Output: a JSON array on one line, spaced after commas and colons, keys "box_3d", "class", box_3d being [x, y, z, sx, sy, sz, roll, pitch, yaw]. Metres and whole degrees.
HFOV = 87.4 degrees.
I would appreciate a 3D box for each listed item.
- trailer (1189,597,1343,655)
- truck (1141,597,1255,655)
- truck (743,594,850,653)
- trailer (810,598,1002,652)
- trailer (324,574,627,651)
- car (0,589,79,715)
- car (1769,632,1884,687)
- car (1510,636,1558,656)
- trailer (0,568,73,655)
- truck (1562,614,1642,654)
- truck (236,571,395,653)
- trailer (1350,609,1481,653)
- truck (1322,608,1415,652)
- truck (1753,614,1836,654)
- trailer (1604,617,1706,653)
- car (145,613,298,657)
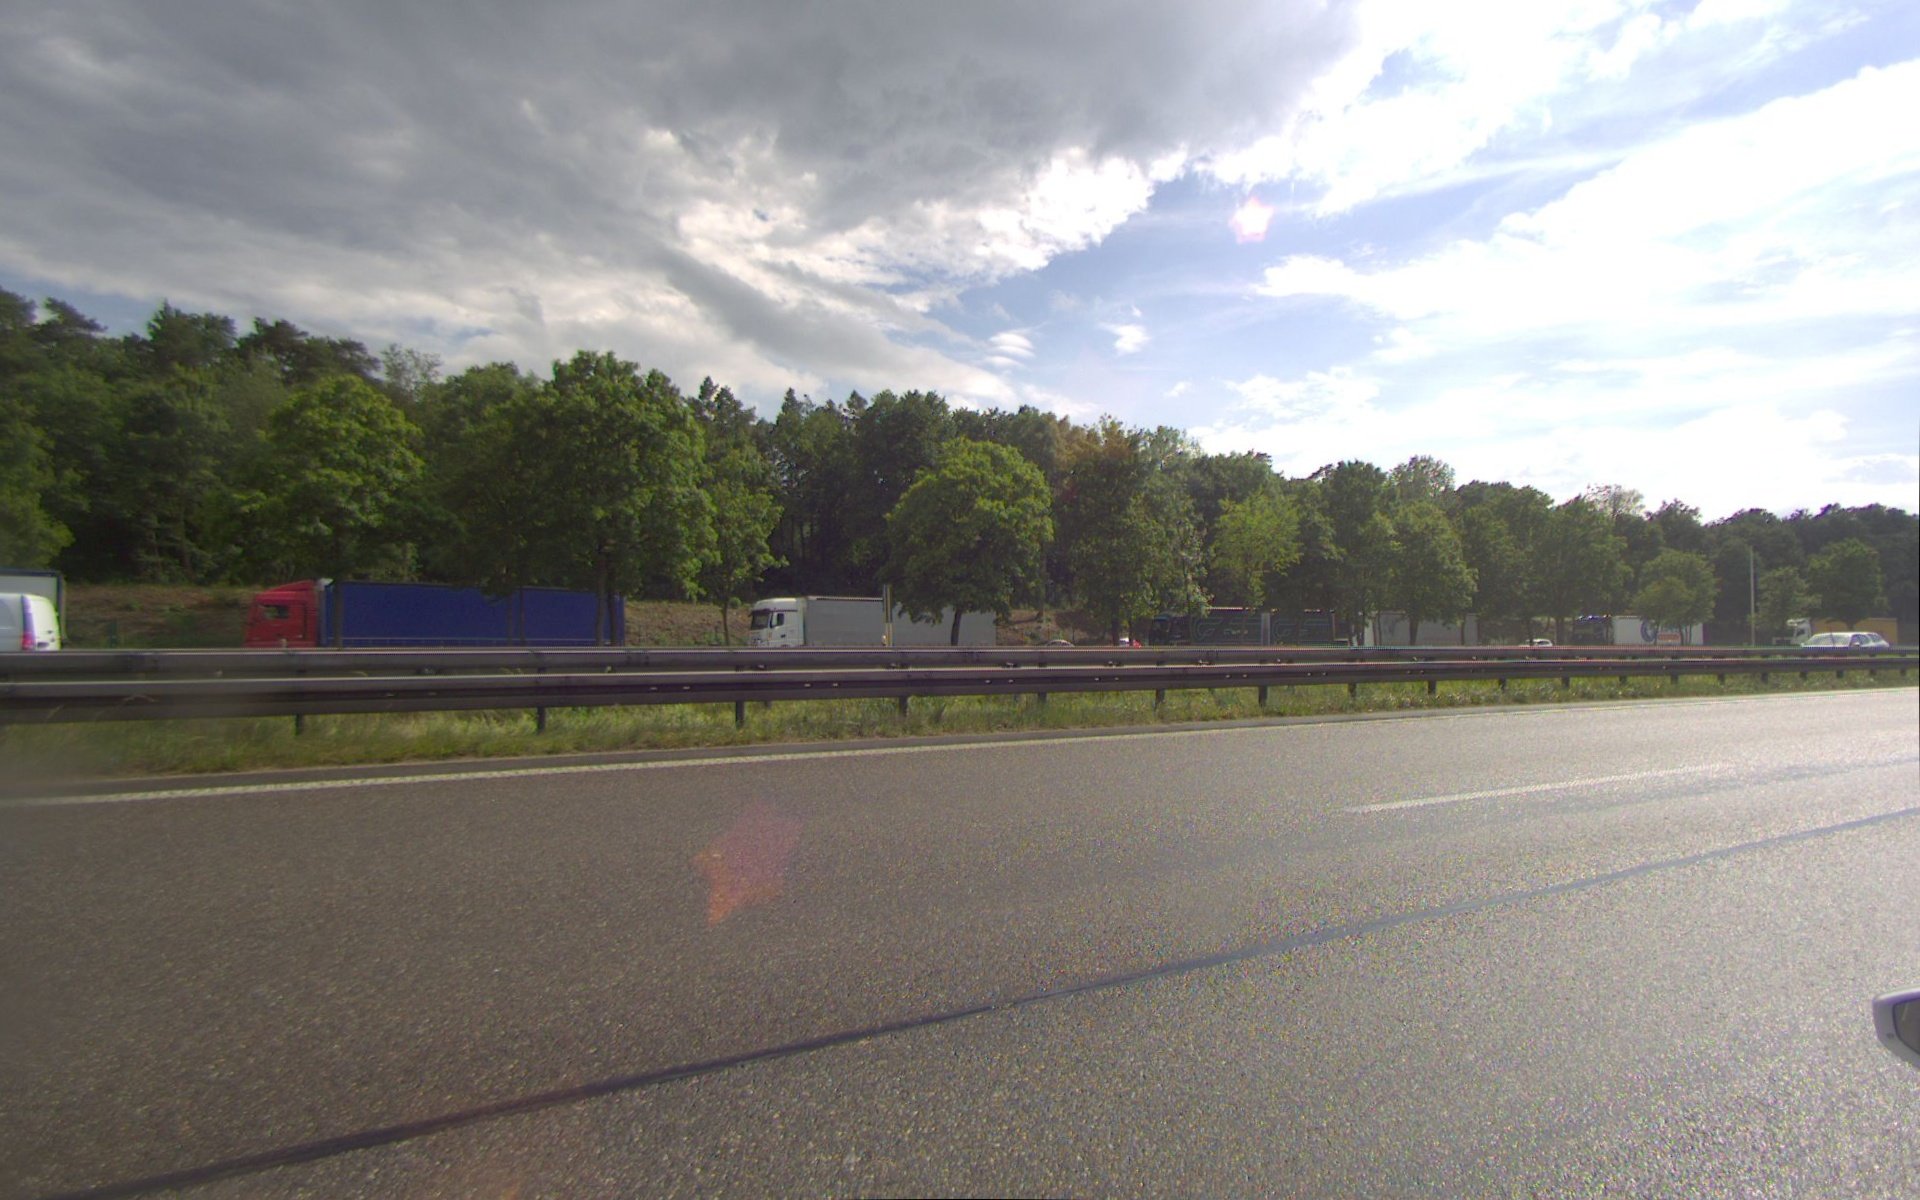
[{"box_3d": [25.405, 2.206, 82.906, 13.632, 4.464, 3.773, 1, -1, -29], "class": "trailer"}, {"box_3d": [18.798, 2.051, 79.148, 8.315, 4.290, 3.771, 2, 0, -29], "class": "truck"}, {"box_3d": [-9.864, 1.409, 60.513, 5.449, 3.316, 3.332, 2, 0, -33], "class": "truck"}, {"box_3d": [-3.310, 1.642, 64.687, 12.336, 3.259, 3.329, 1, -1, -32], "class": "trailer"}, {"box_3d": [-23.644, 0.713, 49.927, 13.302, 3.450, 2.802, 2, -1, -37], "class": "trailer"}, {"box_3d": [-17.875, 0.810, 16.542, 4.723, 2.072, 1.821, 2, 0, -30], "class": "car"}, {"box_3d": [32.723, 2.226, 37.893, 4.723, 1.916, 1.821, 2, 0, -30], "class": "car"}, {"box_3d": [55.862, 4.482, 97.709, 4.311, 1.741, 2.051, 2, 0, -27], "class": "car"}, {"box_3d": [-38.700, 0.388, 37.897, 7.677, 3.275, 2.558, 2, -1, -40], "class": "trailer"}, {"box_3d": [64.981, 3.449, 101.658, 6.613, 3.709, 3.778, 2, 0, -24], "class": "truck"}, {"box_3d": [-29.267, 0.561, 45.686, 5.843, 3.502, 2.839, 2, 0, -37], "class": "truck"}, {"box_3d": [41.421, 2.826, 91.159, 13.181, 3.697, 3.773, 1, -1, -29], "class": "trailer"}, {"box_3d": [35.808, 2.651, 88.047, 7.266, 3.637, 3.771, 2, 0, -29], "class": "truck"}, {"box_3d": [93.170, 3.811, 112.155, 6.930, 4.171, 3.787, 2, 0, -16], "class": "truck"}, {"box_3d": [72.678, 3.662, 104.996, 10.345, 3.697, 3.781, 1, -1, -22], "class": "trailer"}, {"box_3d": [-37.069, 1.760, 50.578, 6.080, 2.040, 1.978, 2, 0, -39], "class": "car"}]
